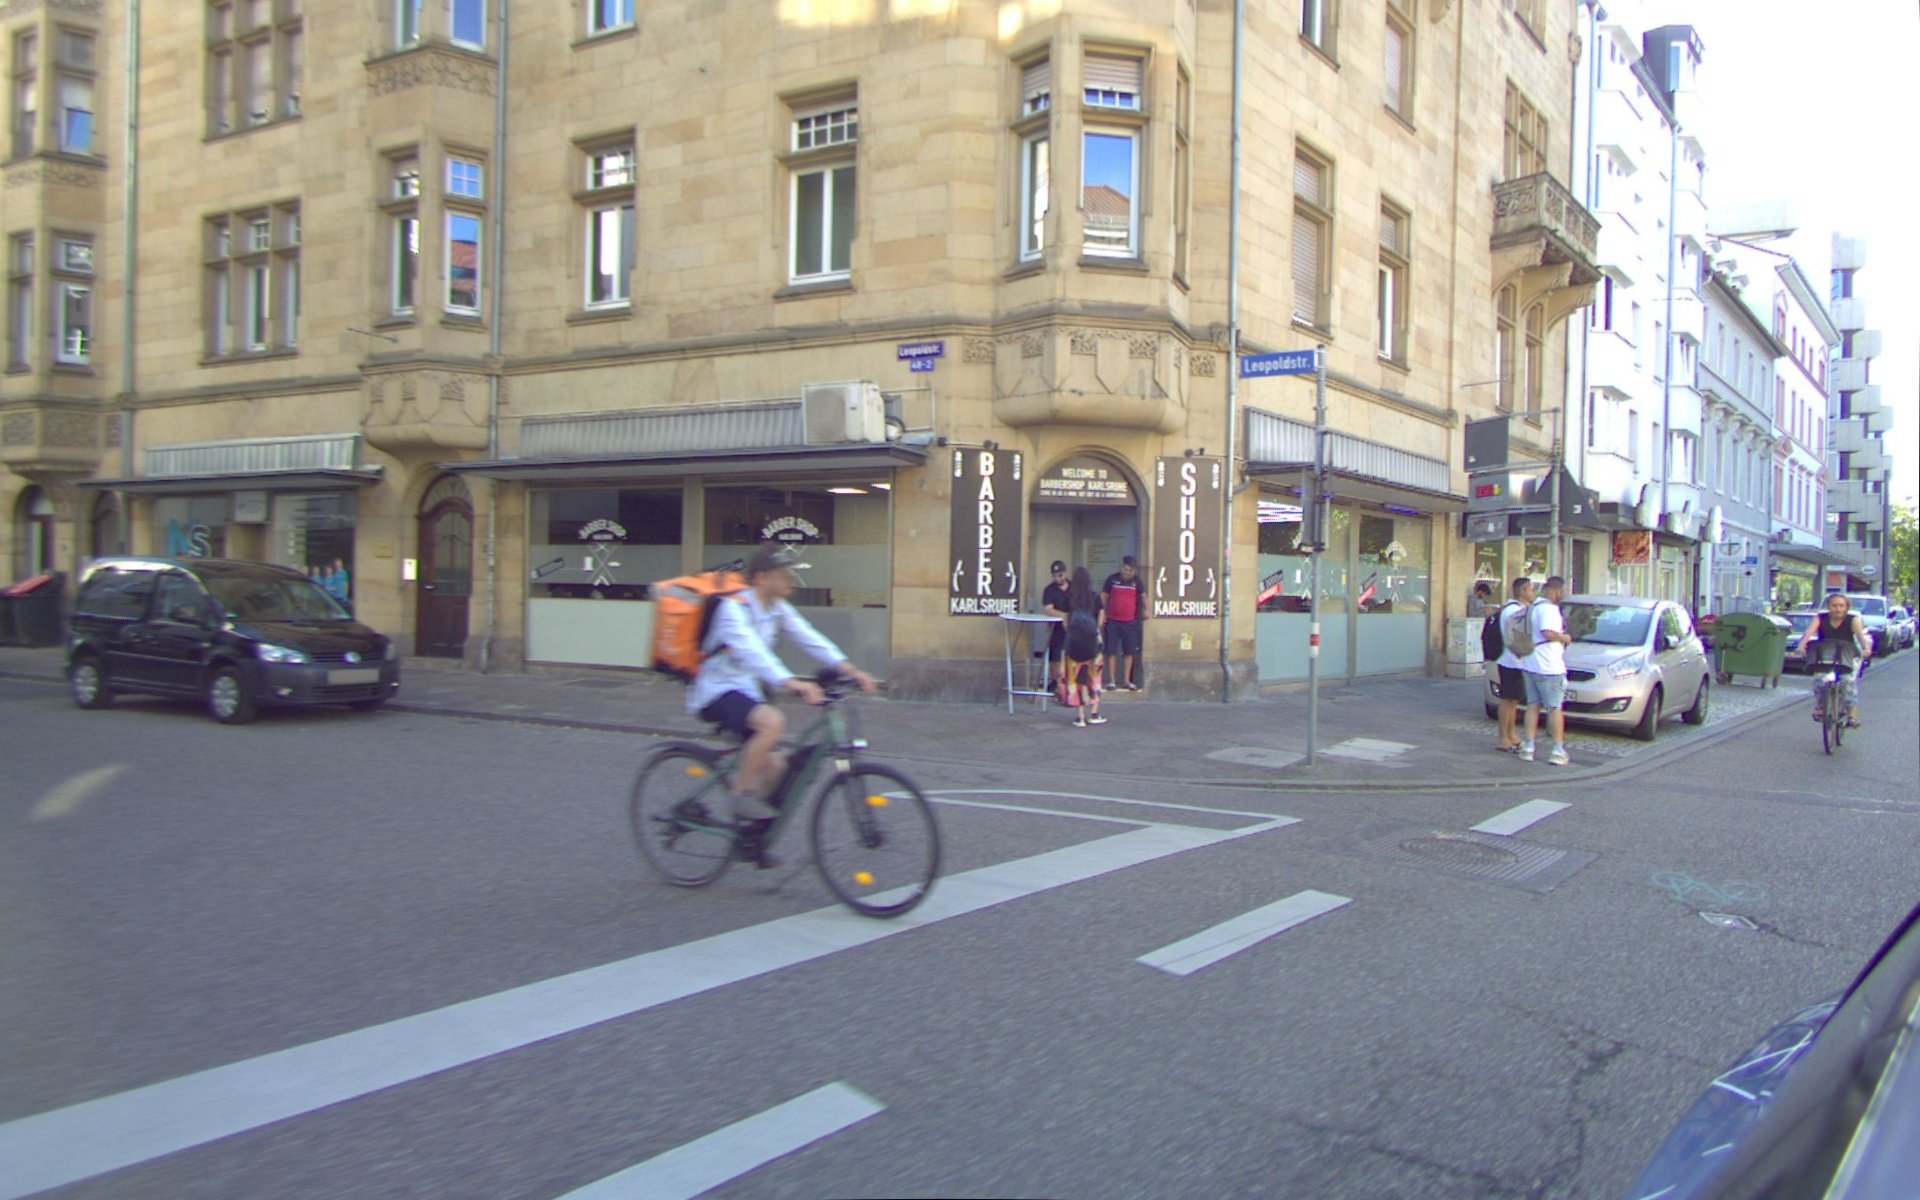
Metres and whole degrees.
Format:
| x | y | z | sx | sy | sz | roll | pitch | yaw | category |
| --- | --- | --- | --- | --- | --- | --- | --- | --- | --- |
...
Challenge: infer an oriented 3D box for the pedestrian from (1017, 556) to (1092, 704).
| x | y | z | sx | sy | sz | roll | pitch | yaw | category |
| --- | --- | --- | --- | --- | --- | --- | --- | --- | --- |
| 1.119 | 0.344 | 12.069 | 0.701 | 1.714 | 0.621 | 0 | 0 | -16 | pedestrian |

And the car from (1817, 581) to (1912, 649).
| x | y | z | sx | sy | sz | roll | pitch | yaw | category |
| --- | --- | --- | --- | --- | --- | --- | --- | --- | --- |
| 29.939 | 0.437 | 33.438 | 1.995 | 1.977 | 5.019 | 5 | 3 | 45 | car |

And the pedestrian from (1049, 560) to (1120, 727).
| x | y | z | sx | sy | sz | roll | pitch | yaw | category |
| --- | --- | --- | --- | --- | --- | --- | --- | --- | --- |
| 1.314 | 0.441 | 10.757 | 0.662 | 1.712 | 0.619 | 0 | 2 | 1 | pedestrian |

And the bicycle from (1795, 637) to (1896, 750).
| x | y | z | sx | sy | sz | roll | pitch | yaw | category |
| --- | --- | --- | --- | --- | --- | --- | --- | --- | --- |
| 9.738 | 0.977 | 11.104 | 1.805 | 1.081 | 0.665 | 0 | 0 | -43 | bicycle |

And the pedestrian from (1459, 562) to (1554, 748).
| x | y | z | sx | sy | sz | roll | pitch | yaw | category |
| --- | --- | --- | --- | --- | --- | --- | --- | --- | --- |
| 5.409 | 0.507 | 10.059 | 0.691 | 1.740 | 0.689 | 3 | 2 | 24 | pedestrian |

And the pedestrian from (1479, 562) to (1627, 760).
| x | y | z | sx | sy | sz | roll | pitch | yaw | category |
| --- | --- | --- | --- | --- | --- | --- | --- | --- | --- |
| 5.478 | 0.539 | 9.378 | 0.876 | 1.740 | 0.697 | 2 | 2 | -19 | pedestrian |

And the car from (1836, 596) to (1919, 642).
| x | y | z | sx | sy | sz | roll | pitch | yaw | category |
| --- | --- | --- | --- | --- | --- | --- | --- | --- | --- |
| 33.546 | 0.654 | 36.950 | 3.806 | 1.470 | 1.996 | 0 | 3 | -45 | car |

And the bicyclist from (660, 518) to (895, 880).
| x | y | z | sx | sy | sz | roll | pitch | yaw | category |
| --- | --- | --- | --- | --- | --- | --- | --- | --- | --- |
| -0.855 | 0.415 | 4.809 | 0.881 | 1.544 | 0.663 | 0 | 0 | 26 | bicyclist |

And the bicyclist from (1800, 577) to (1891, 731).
| x | y | z | sx | sy | sz | roll | pitch | yaw | category |
| --- | --- | --- | --- | --- | --- | --- | --- | --- | --- |
| 9.653 | 0.554 | 11.028 | 0.893 | 1.591 | 0.657 | 0 | 0 | -43 | bicyclist |

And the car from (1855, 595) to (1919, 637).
| x | y | z | sx | sy | sz | roll | pitch | yaw | category |
| --- | --- | --- | --- | --- | --- | --- | --- | --- | --- |
| 37.065 | 0.604 | 40.171 | 3.890 | 1.470 | 1.996 | 0 | 3 | -45 | car |

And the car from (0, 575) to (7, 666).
| x | y | z | sx | sy | sz | roll | pitch | yaw | category |
| --- | --- | --- | --- | --- | --- | --- | --- | --- | --- |
| -17.047 | 0.333 | 15.900 | 3.628 | 1.429 | 1.762 | 0 | 1 | 24 | car |

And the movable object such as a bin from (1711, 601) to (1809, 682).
| x | y | z | sx | sy | sz | roll | pitch | yaw | category |
| --- | --- | --- | --- | --- | --- | --- | --- | --- | --- |
| 15.626 | 0.777 | 19.763 | 1.386 | 1.439 | 1.148 | 0 | 4 | -39 | movable object such as a bin |

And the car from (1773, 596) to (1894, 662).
| x | y | z | sx | sy | sz | roll | pitch | yaw | category |
| --- | --- | --- | --- | --- | --- | --- | --- | --- | --- |
| 23.346 | 0.718 | 27.006 | 3.933 | 1.509 | 1.997 | 0 | 3 | -43 | car |

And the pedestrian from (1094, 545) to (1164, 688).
| x | y | z | sx | sy | sz | roll | pitch | yaw | category |
| --- | --- | --- | --- | --- | --- | --- | --- | --- | --- |
| 2.082 | 0.194 | 12.528 | 0.701 | 1.714 | 0.500 | 0 | 0 | -16 | pedestrian |

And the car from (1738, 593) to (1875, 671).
| x | y | z | sx | sy | sz | roll | pitch | yaw | category |
| --- | --- | --- | --- | --- | --- | --- | --- | --- | --- |
| 20.342 | 0.691 | 24.266 | 3.933 | 1.593 | 1.997 | 0 | 3 | -43 | car |

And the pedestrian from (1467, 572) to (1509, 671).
| x | y | z | sx | sy | sz | roll | pitch | yaw | category |
| --- | --- | --- | --- | --- | --- | --- | --- | --- | --- |
| 9.653 | 0.381 | 18.509 | 0.534 | 1.764 | 0.589 | 1 | 0 | 42 | pedestrian |

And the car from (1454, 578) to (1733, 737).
| x | y | z | sx | sy | sz | roll | pitch | yaw | category |
| --- | --- | --- | --- | --- | --- | --- | --- | --- | --- |
| 8.125 | 0.599 | 12.844 | 4.057 | 1.593 | 1.976 | 0 | 3 | -43 | car |

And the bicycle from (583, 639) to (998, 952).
| x | y | z | sx | sy | sz | roll | pitch | yaw | category |
| --- | --- | --- | --- | --- | --- | --- | --- | --- | --- |
| -0.831 | 0.813 | 4.795 | 1.924 | 1.173 | 0.663 | 1 | 0 | 27 | bicycle |

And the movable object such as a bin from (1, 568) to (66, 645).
| x | y | z | sx | sy | sz | roll | pitch | yaw | category |
| --- | --- | --- | --- | --- | --- | --- | --- | --- | --- |
| -17.785 | 0.110 | 19.433 | 0.752 | 1.435 | 0.679 | 2 | 1 | 25 | movable object such as a bin |

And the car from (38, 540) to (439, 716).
| x | y | z | sx | sy | sz | roll | pitch | yaw | category |
| --- | --- | --- | --- | --- | --- | --- | --- | --- | --- |
| -8.601 | 0.248 | 12.085 | 4.269 | 1.794 | 1.985 | 1 | 0 | 23 | car |
